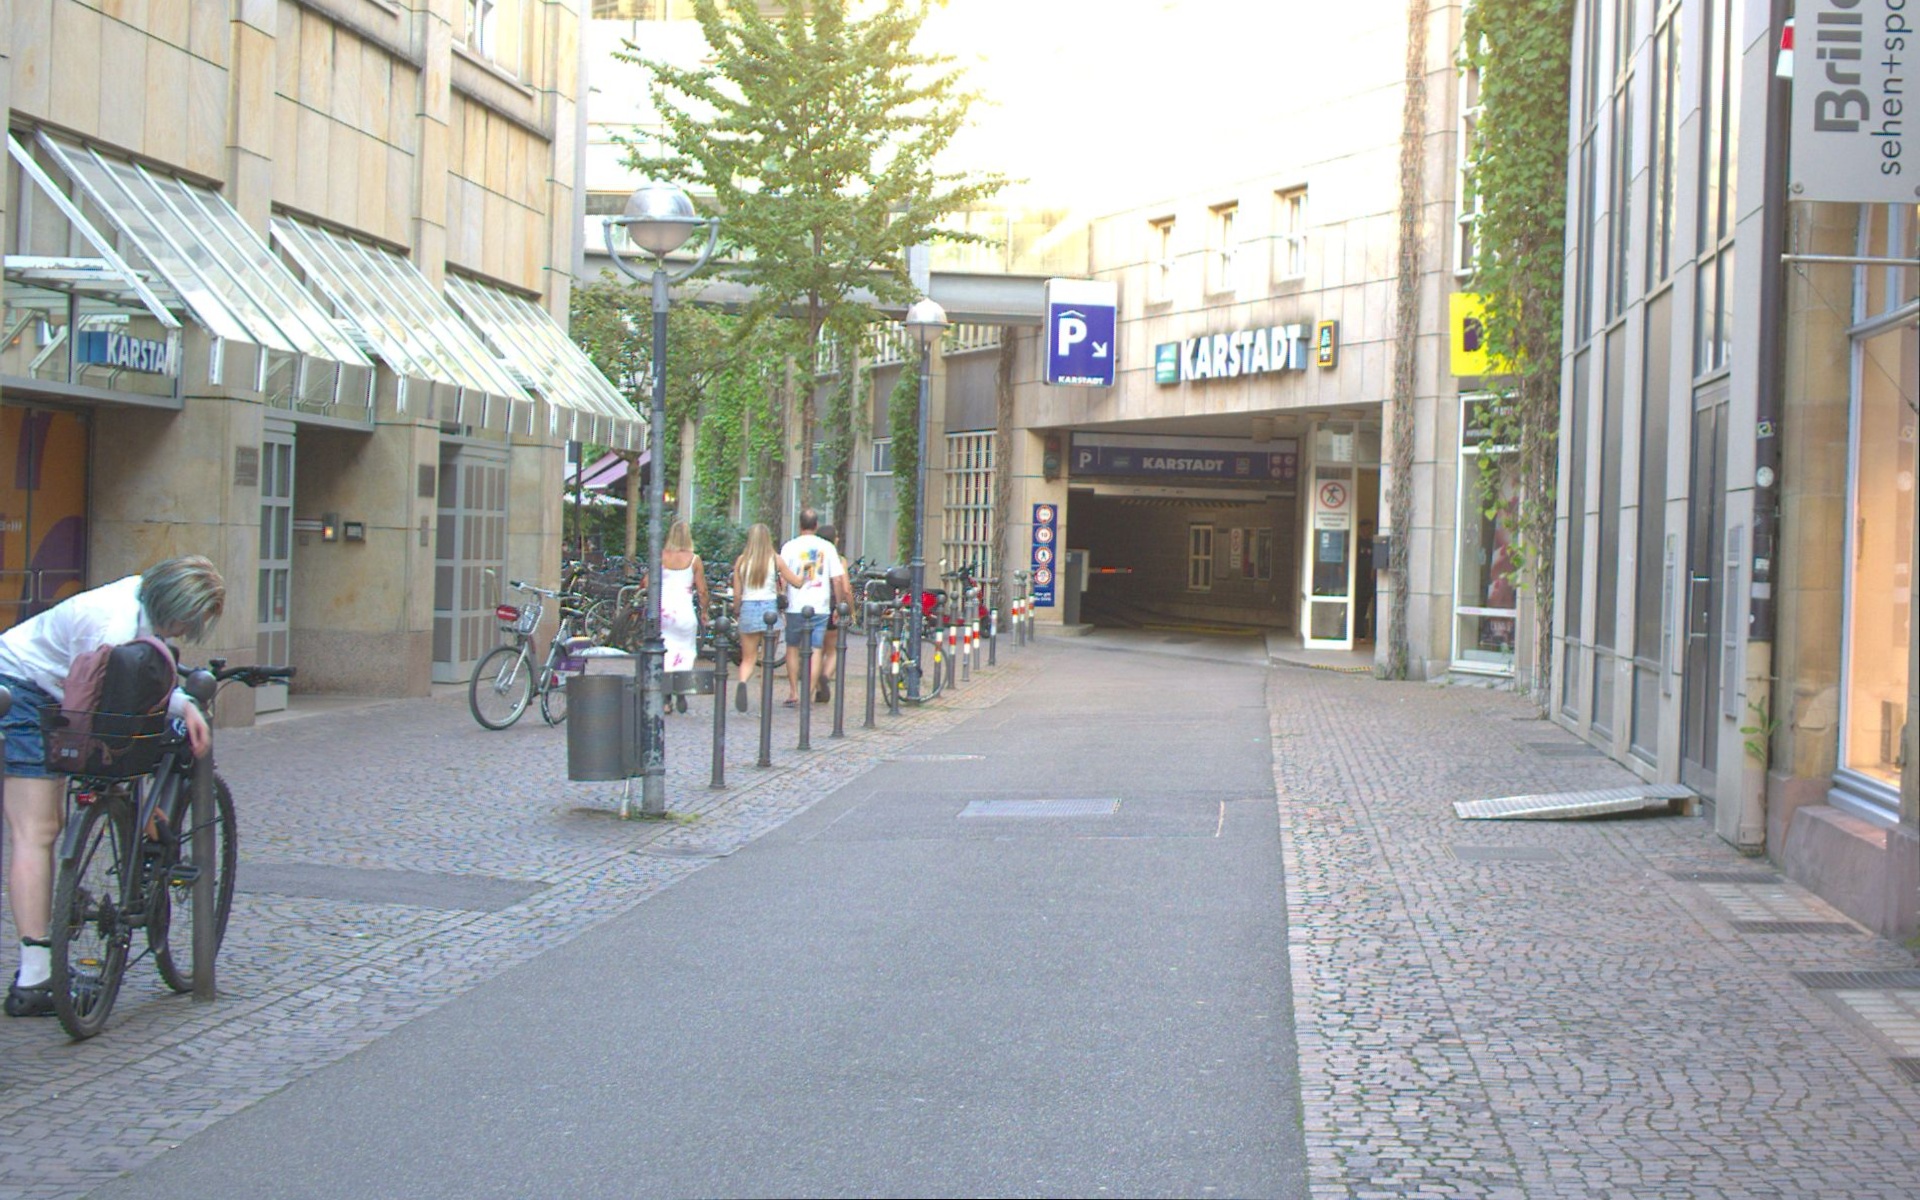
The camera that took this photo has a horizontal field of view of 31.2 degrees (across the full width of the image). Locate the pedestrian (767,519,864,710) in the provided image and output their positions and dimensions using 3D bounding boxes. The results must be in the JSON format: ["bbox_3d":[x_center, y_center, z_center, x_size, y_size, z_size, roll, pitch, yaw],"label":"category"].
[{"bbox_3d":[-1.382,0.132,32.970,0.785,1.789,0.972,1,1,4],"label":"pedestrian"}]

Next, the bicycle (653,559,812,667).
[{"bbox_3d":[-2.659,0.151,40.167,1.766,1.226,0.534,1,1,-18],"label":"bicycle"}]

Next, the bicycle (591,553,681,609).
[{"bbox_3d":[-6.704,-0.398,71.070,1.773,1.110,0.543,1,1,-13],"label":"bicycle"}]

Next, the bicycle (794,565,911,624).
[{"bbox_3d":[-1.711,-0.095,54.704,1.773,0.901,0.464,1,1,-16],"label":"bicycle"}]

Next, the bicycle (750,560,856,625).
[{"bbox_3d":[-2.760,-0.134,60.447,1.773,1.110,0.543,1,1,-16],"label":"bicycle"}]

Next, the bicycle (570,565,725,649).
[{"bbox_3d":[-3.992,0.087,43.943,1.893,1.048,0.534,1,1,-18],"label":"bicycle"}]

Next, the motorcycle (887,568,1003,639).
[{"bbox_3d":[-0.227,0.051,52.077,1.662,1.047,0.464,1,1,-16],"label":"motorcycle"}]

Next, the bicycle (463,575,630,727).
[{"bbox_3d":[-3.222,0.381,26.912,0.522,1.134,1.763,2,1,21],"label":"bicycle"}]

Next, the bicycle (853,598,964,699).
[{"bbox_3d":[-0.494,0.460,33.524,0.493,0.935,1.657,3,1,19],"label":"bicycle"}]

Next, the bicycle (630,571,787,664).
[{"bbox_3d":[-3.098,0.221,42.381,1.836,1.118,0.534,1,1,-18],"label":"bicycle"}]

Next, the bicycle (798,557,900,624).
[{"bbox_3d":[-1.804,-0.151,55.731,1.539,1.045,0.575,1,1,-16],"label":"bicycle"}]

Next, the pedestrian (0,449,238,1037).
[{"bbox_3d":[-2.710,0.412,10.486,0.768,1.712,0.591,3,1,4],"label":"pedestrian"}]

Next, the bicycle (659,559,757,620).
[{"bbox_3d":[-4.775,-0.205,65.118,1.773,1.110,0.543,1,1,-16],"label":"bicycle"}]

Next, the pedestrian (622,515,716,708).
[{"bbox_3d":[-2.563,0.094,30.351,0.675,1.659,0.860,2,1,3],"label":"pedestrian"}]

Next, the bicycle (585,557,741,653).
[{"bbox_3d":[-3.752,0.063,43.391,1.872,1.173,0.534,1,1,-18],"label":"bicycle"}]

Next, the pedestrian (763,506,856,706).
[{"bbox_3d":[-1.387,0.048,31.819,0.742,1.816,0.878,1,1,3],"label":"pedestrian"}]

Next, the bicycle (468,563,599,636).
[{"bbox_3d":[-6.242,-0.009,50.365,1.824,1.039,0.534,1,1,-18],"label":"bicycle"}]

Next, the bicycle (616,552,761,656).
[{"bbox_3d":[-3.276,0.043,41.499,1.653,1.226,0.534,1,1,-18],"label":"bicycle"}]

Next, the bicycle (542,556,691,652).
[{"bbox_3d":[-4.459,0.048,44.657,1.833,1.221,0.534,1,1,-18],"label":"bicycle"}]

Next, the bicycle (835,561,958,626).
[{"bbox_3d":[-0.989,-0.104,53.828,1.847,0.979,0.464,1,1,-16],"label":"bicycle"}]

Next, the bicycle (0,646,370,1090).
[{"bbox_3d":[-2.359,0.757,10.522,0.533,1.150,1.914,3,1,6],"label":"bicycle"}]

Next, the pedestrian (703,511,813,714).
[{"bbox_3d":[-1.762,0.103,30.067,0.806,1.723,0.948,2,1,3],"label":"pedestrian"}]
